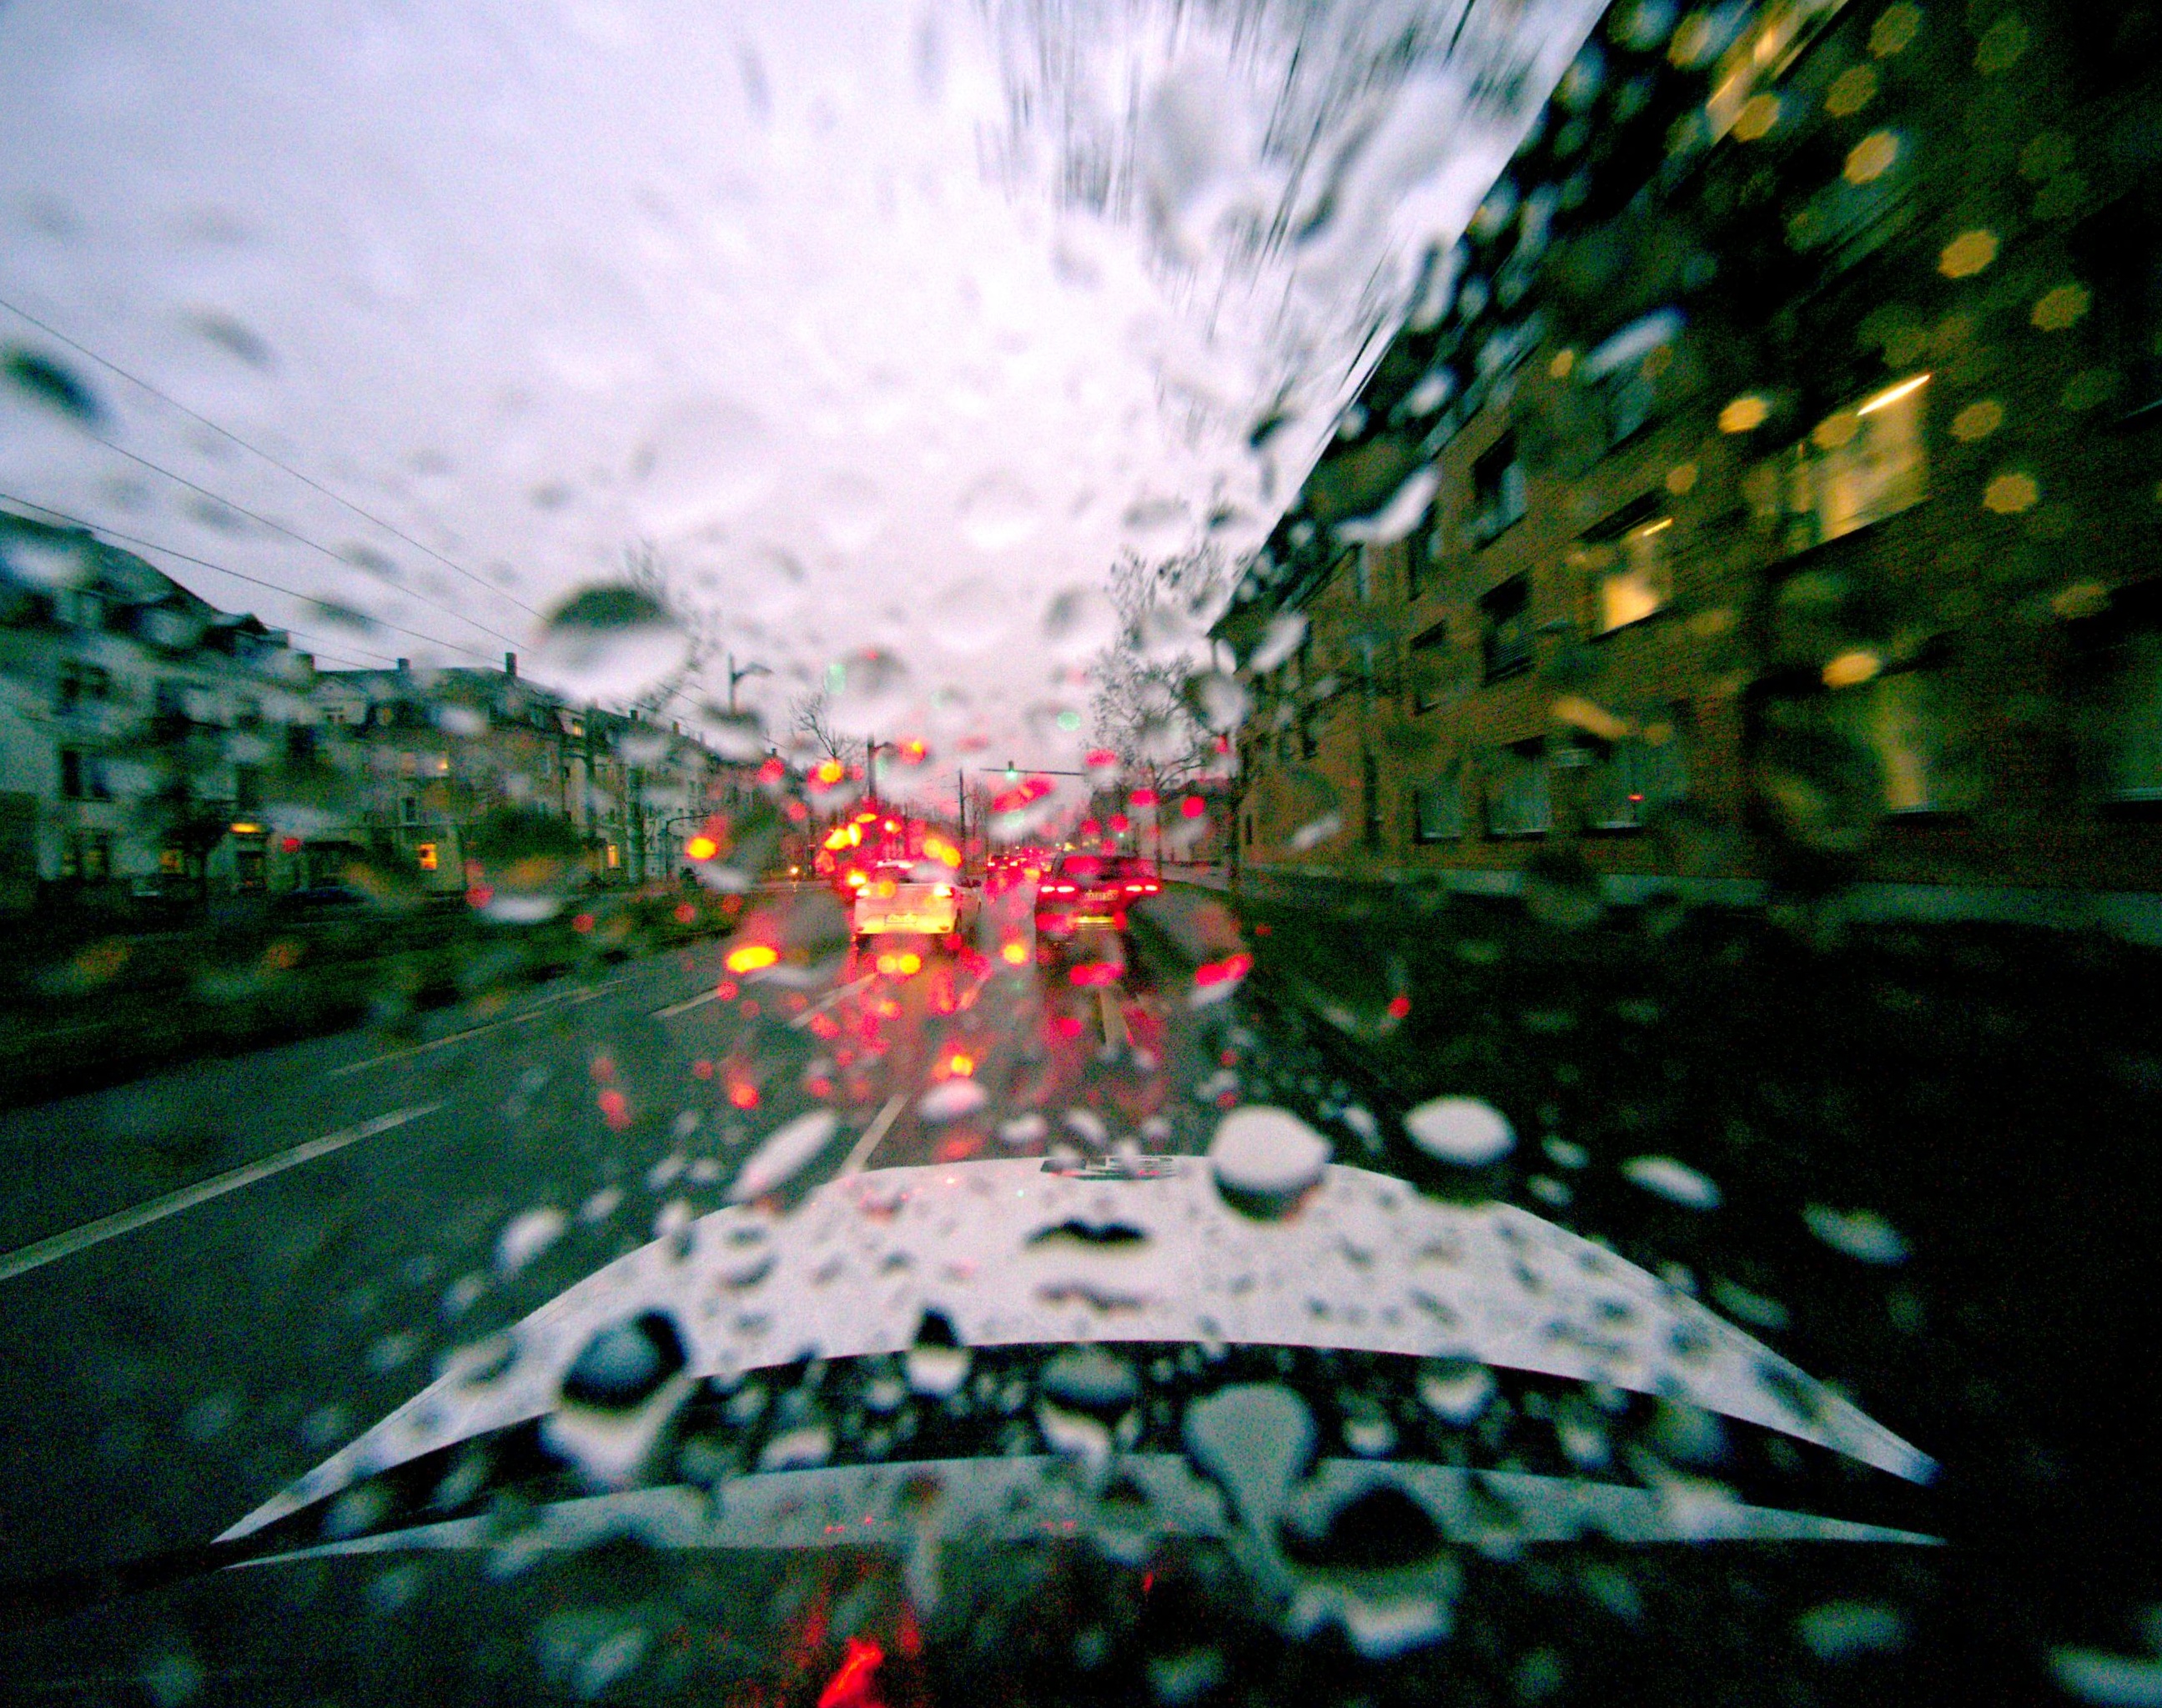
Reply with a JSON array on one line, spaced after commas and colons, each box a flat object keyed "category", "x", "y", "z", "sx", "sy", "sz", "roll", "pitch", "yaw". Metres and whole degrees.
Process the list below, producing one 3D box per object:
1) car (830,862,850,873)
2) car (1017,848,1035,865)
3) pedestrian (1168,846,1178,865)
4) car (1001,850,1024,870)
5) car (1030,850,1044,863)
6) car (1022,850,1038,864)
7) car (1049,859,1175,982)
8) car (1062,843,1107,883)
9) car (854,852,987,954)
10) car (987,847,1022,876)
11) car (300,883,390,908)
[{"category": "car", "x": -34.064, "y": 1.871, "z": 115.120, "sx": 1.771, "sy": 1.354, "sz": 3.554, "roll": -3, "pitch": 0, "yaw": -2}, {"category": "car", "x": -6.813, "y": 0.294, "z": 101.721, "sx": 1.987, "sy": 2.014, "sz": 3.999, "roll": -1, "pitch": -1, "yaw": 0}, {"category": "pedestrian", "x": 7.842, "y": 0.121, "z": 69.542, "sx": 0.620, "sy": 1.610, "sz": 1.065, "roll": -3, "pitch": 0, "yaw": -5}, {"category": "car", "x": -6.941, "y": 0.627, "z": 83.126, "sx": 1.987, "sy": 2.014, "sz": 3.999, "roll": -1, "pitch": -1, "yaw": 0}, {"category": "car", "x": -7.354, "y": 0.428, "z": 135.088, "sx": 1.987, "sy": 2.013, "sz": 4.000, "roll": -2, "pitch": 0, "yaw": 0}, {"category": "car", "x": -7.460, "y": 0.500, "z": 119.462, "sx": 1.987, "sy": 2.014, "sz": 3.999, "roll": -1, "pitch": -1, "yaw": 0}, {"category": "car", "x": 0.405, "y": 0.923, "z": 13.165, "sx": 1.667, "sy": 1.600, "sz": 4.052, "roll": -2, "pitch": 0, "yaw": -1}, {"category": "car", "x": 0.141, "y": 0.417, "z": 39.330, "sx": 1.988, "sy": 1.743, "sz": 3.999, "roll": -3, "pitch": 0, "yaw": -1}, {"category": "car", "x": -2.822, "y": 0.790, "z": 15.190, "sx": 1.667, "sy": 1.600, "sz": 4.052, "roll": -2, "pitch": 0, "yaw": -1}, {"category": "car", "x": -4.469, "y": 0.440, "z": 48.078, "sx": 1.667, "sy": 1.600, "sz": 4.052, "roll": -2, "pitch": 0, "yaw": -1}, {"category": "car", "x": -49.261, "y": 2.777, "z": 54.548, "sx": 3.983, "sy": 1.420, "sz": 1.995, "roll": -2, "pitch": 0, "yaw": -7}]
